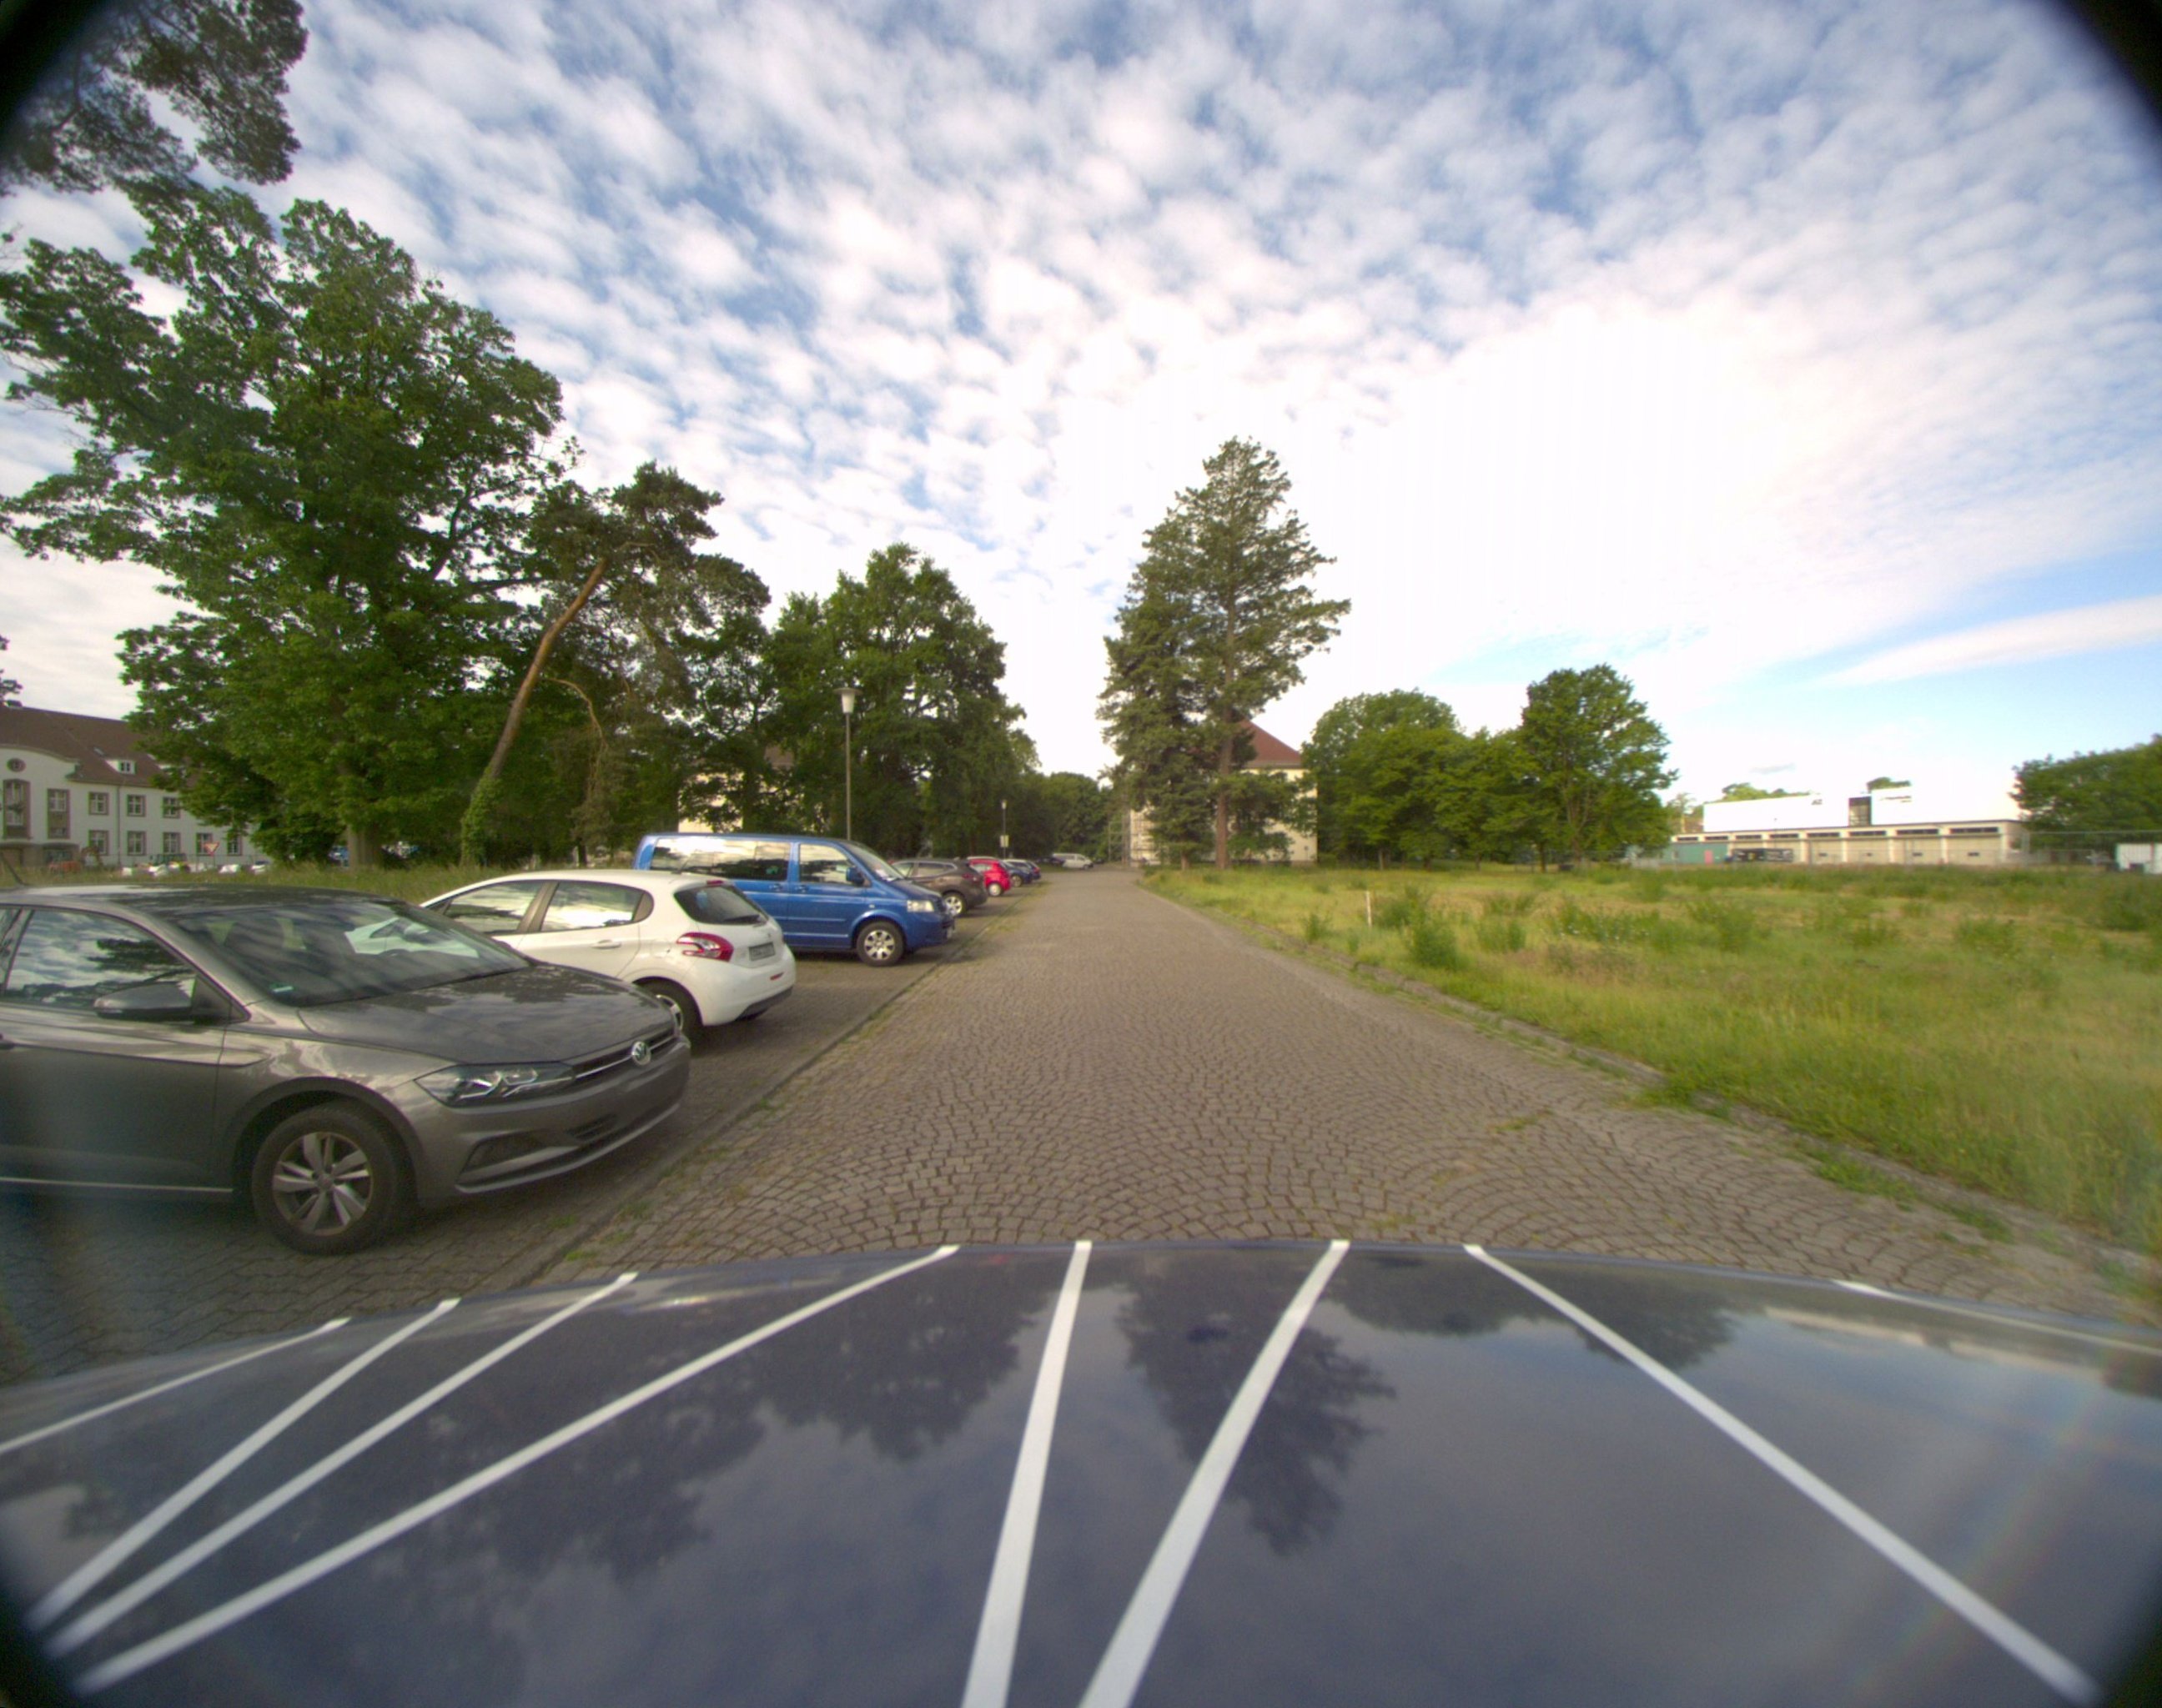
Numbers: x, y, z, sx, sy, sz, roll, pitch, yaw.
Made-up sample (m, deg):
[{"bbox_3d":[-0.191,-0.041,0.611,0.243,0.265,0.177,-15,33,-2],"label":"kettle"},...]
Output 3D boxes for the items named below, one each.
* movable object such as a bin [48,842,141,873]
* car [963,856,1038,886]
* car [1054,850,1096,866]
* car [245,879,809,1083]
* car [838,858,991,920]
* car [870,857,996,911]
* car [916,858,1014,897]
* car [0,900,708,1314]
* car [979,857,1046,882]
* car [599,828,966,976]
[{"bbox_3d":[-90.543,0.309,69.842,1.999,2.752,5.201,0,0,-5],"label":"movable object such as a bin"},{"bbox_3d":[-4.384,0.931,41.505,3.836,1.609,1.582,0,0,5],"label":"car"},{"bbox_3d":[-0.762,0.496,94.945,5.130,2.002,1.804,0,0,-2],"label":"car"},{"bbox_3d":[-4.538,0.996,6.602,3.761,1.490,1.581,0,0,2],"label":"car"},{"bbox_3d":[-4.447,0.912,20.703,3.839,1.592,1.580,0,0,-4],"label":"car"},{"bbox_3d":[-4.523,0.900,23.625,3.634,1.592,1.580,0,0,-4],"label":"car"},{"bbox_3d":[-4.701,0.953,31.120,3.839,1.516,1.580,0,0,-4],"label":"car"},{"bbox_3d":[-4.130,1.007,3.732,3.781,1.457,1.643,0,0,2],"label":"car"},{"bbox_3d":[-4.161,0.930,46.357,3.836,1.520,1.674,0,0,5],"label":"car"},{"bbox_3d":[-4.505,0.689,12.056,4.954,2.011,2.060,2,0,1],"label":"car"}]
